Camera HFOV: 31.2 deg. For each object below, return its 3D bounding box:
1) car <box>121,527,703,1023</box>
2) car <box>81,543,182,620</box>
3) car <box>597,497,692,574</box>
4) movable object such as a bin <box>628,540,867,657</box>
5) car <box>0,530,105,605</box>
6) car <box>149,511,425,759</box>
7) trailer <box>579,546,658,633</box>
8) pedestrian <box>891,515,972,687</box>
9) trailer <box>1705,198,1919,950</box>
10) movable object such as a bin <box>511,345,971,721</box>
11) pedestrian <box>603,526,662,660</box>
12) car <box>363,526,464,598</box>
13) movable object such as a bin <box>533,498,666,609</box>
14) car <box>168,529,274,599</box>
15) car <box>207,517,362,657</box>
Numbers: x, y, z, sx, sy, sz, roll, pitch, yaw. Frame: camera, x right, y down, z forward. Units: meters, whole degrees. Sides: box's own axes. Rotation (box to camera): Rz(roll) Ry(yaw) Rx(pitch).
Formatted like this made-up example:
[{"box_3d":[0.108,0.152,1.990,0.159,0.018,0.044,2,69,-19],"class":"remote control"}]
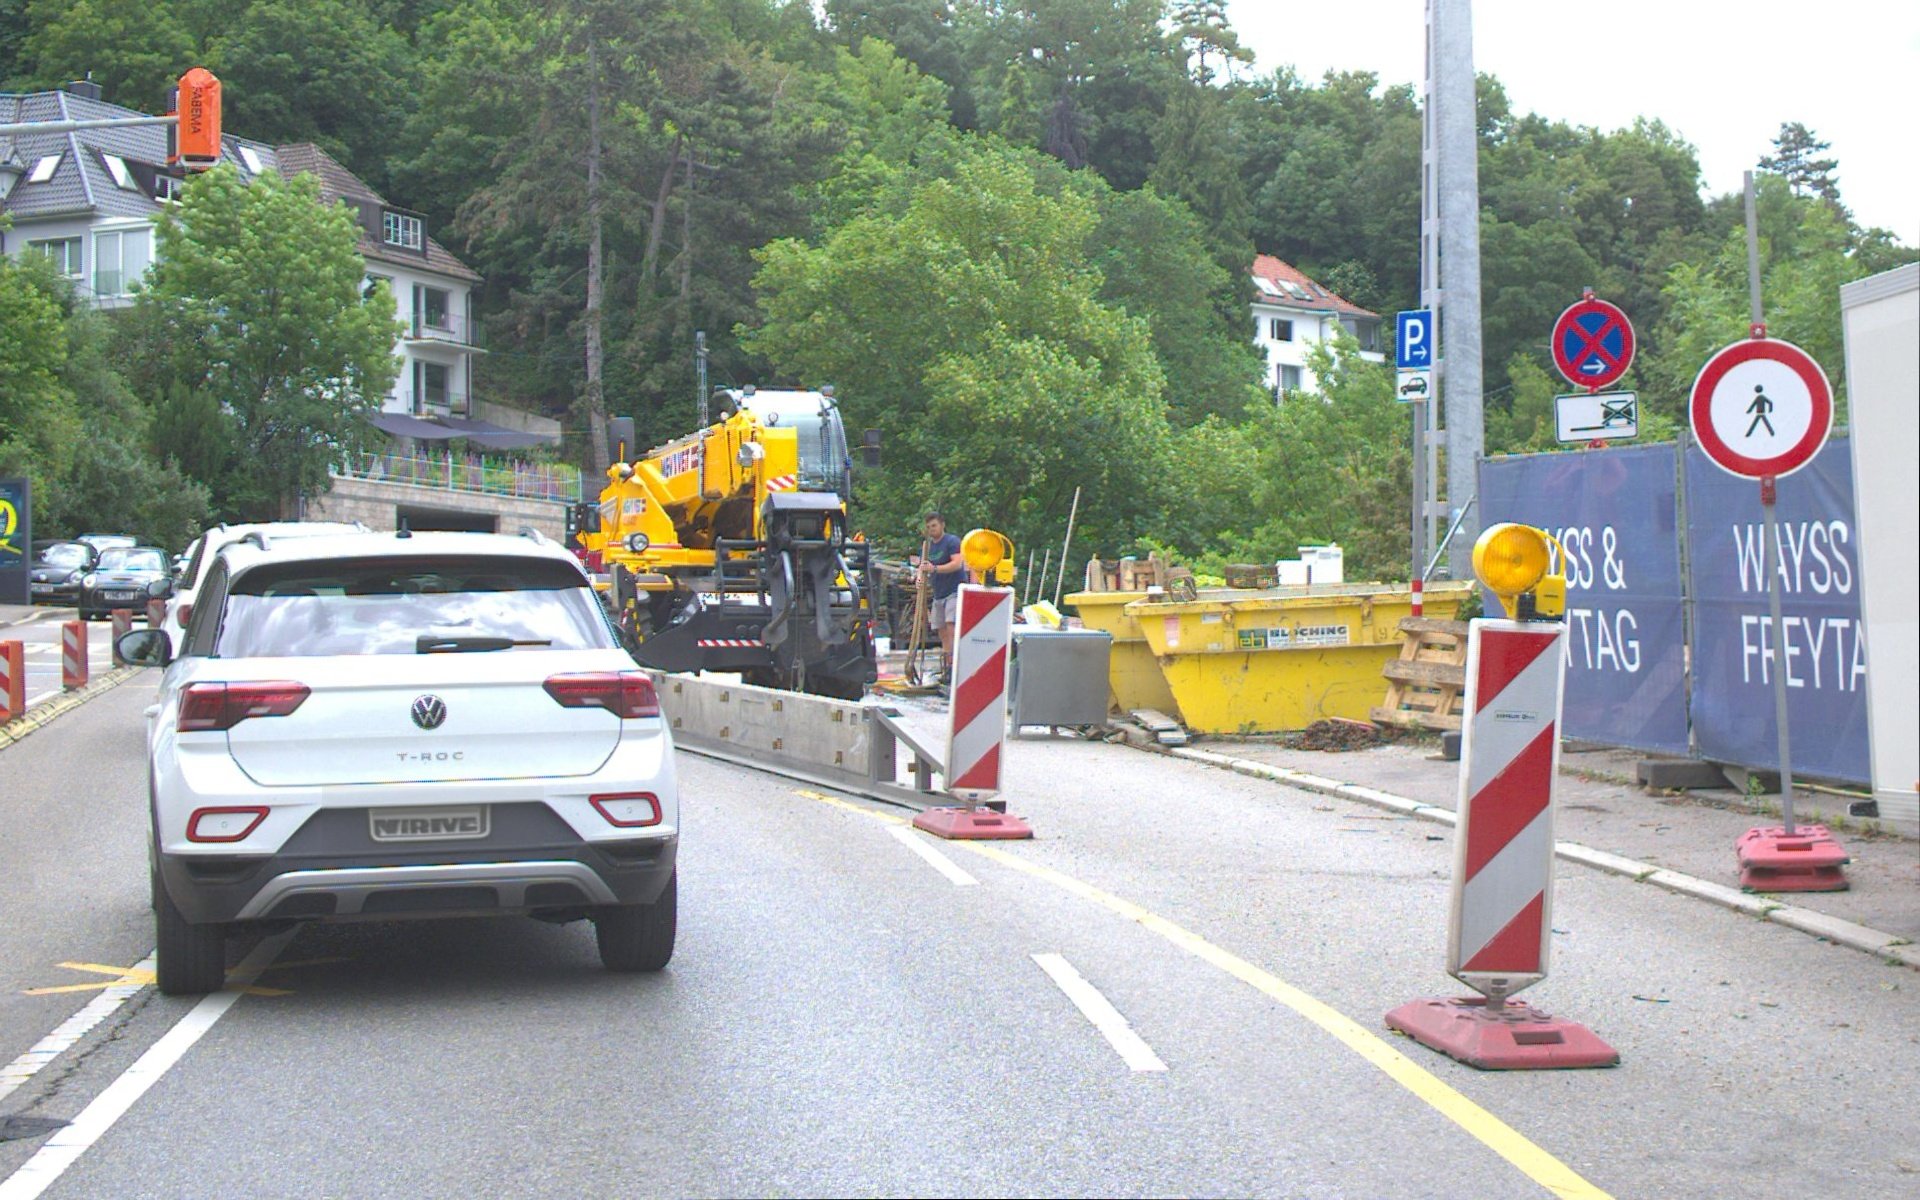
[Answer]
[{"box_3d":[-2.178,0.516,12.957,1.809,1.526,4.001,-1,1,-13],"class":"car"},{"box_3d":[-15.915,-0.371,66.184,1.671,1.425,3.588,-1,1,-10],"class":"car"},{"box_3d":[-6.473,-1.307,70.218,1.794,1.505,4.001,-1,1,-7],"class":"car"},{"box_3d":[-3.186,-0.068,49.694,2.373,1.556,7.101,0,1,-12],"class":"movable object such as a bin"},{"box_3d":[-19.660,-0.714,73.982,1.794,1.505,4.001,2,1,-5],"class":"car"},{"box_3d":[-5.090,0.204,25.635,1.809,1.657,4.001,-1,1,-14],"class":"car"},{"box_3d":[-5.986,-0.204,60.440,1.288,1.470,3.634,0,1,-4],"class":"trailer"},{"box_3d":[-0.297,0.002,36.097,0.689,1.788,0.540,0,2,-23],"class":"pedestrian"},{"box_3d":[4.345,-0.106,11.187,2.106,2.541,5.120,-2,1,-7],"class":"trailer"},{"box_3d":[-2.273,-0.614,32.107,2.810,3.060,7.826,0,1,-15],"class":"movable object such as a bin"},{"box_3d":[-4.239,-0.095,44.444,0.645,1.696,0.850,1,1,-11],"class":"pedestrian"},{"box_3d":[-13.213,-0.938,83.276,1.809,1.657,4.000,-1,1,-1],"class":"car"},{"box_3d":[-8.841,-1.168,84.747,2.212,2.653,4.943,1,1,7],"class":"movable object such as a bin"},{"box_3d":[-17.149,-0.857,79.957,1.841,1.594,4.264,0,1,-4],"class":"car"},{"box_3d":[-8.609,-0.191,43.730,1.809,1.657,4.001,-1,1,-12],"class":"car"}]
